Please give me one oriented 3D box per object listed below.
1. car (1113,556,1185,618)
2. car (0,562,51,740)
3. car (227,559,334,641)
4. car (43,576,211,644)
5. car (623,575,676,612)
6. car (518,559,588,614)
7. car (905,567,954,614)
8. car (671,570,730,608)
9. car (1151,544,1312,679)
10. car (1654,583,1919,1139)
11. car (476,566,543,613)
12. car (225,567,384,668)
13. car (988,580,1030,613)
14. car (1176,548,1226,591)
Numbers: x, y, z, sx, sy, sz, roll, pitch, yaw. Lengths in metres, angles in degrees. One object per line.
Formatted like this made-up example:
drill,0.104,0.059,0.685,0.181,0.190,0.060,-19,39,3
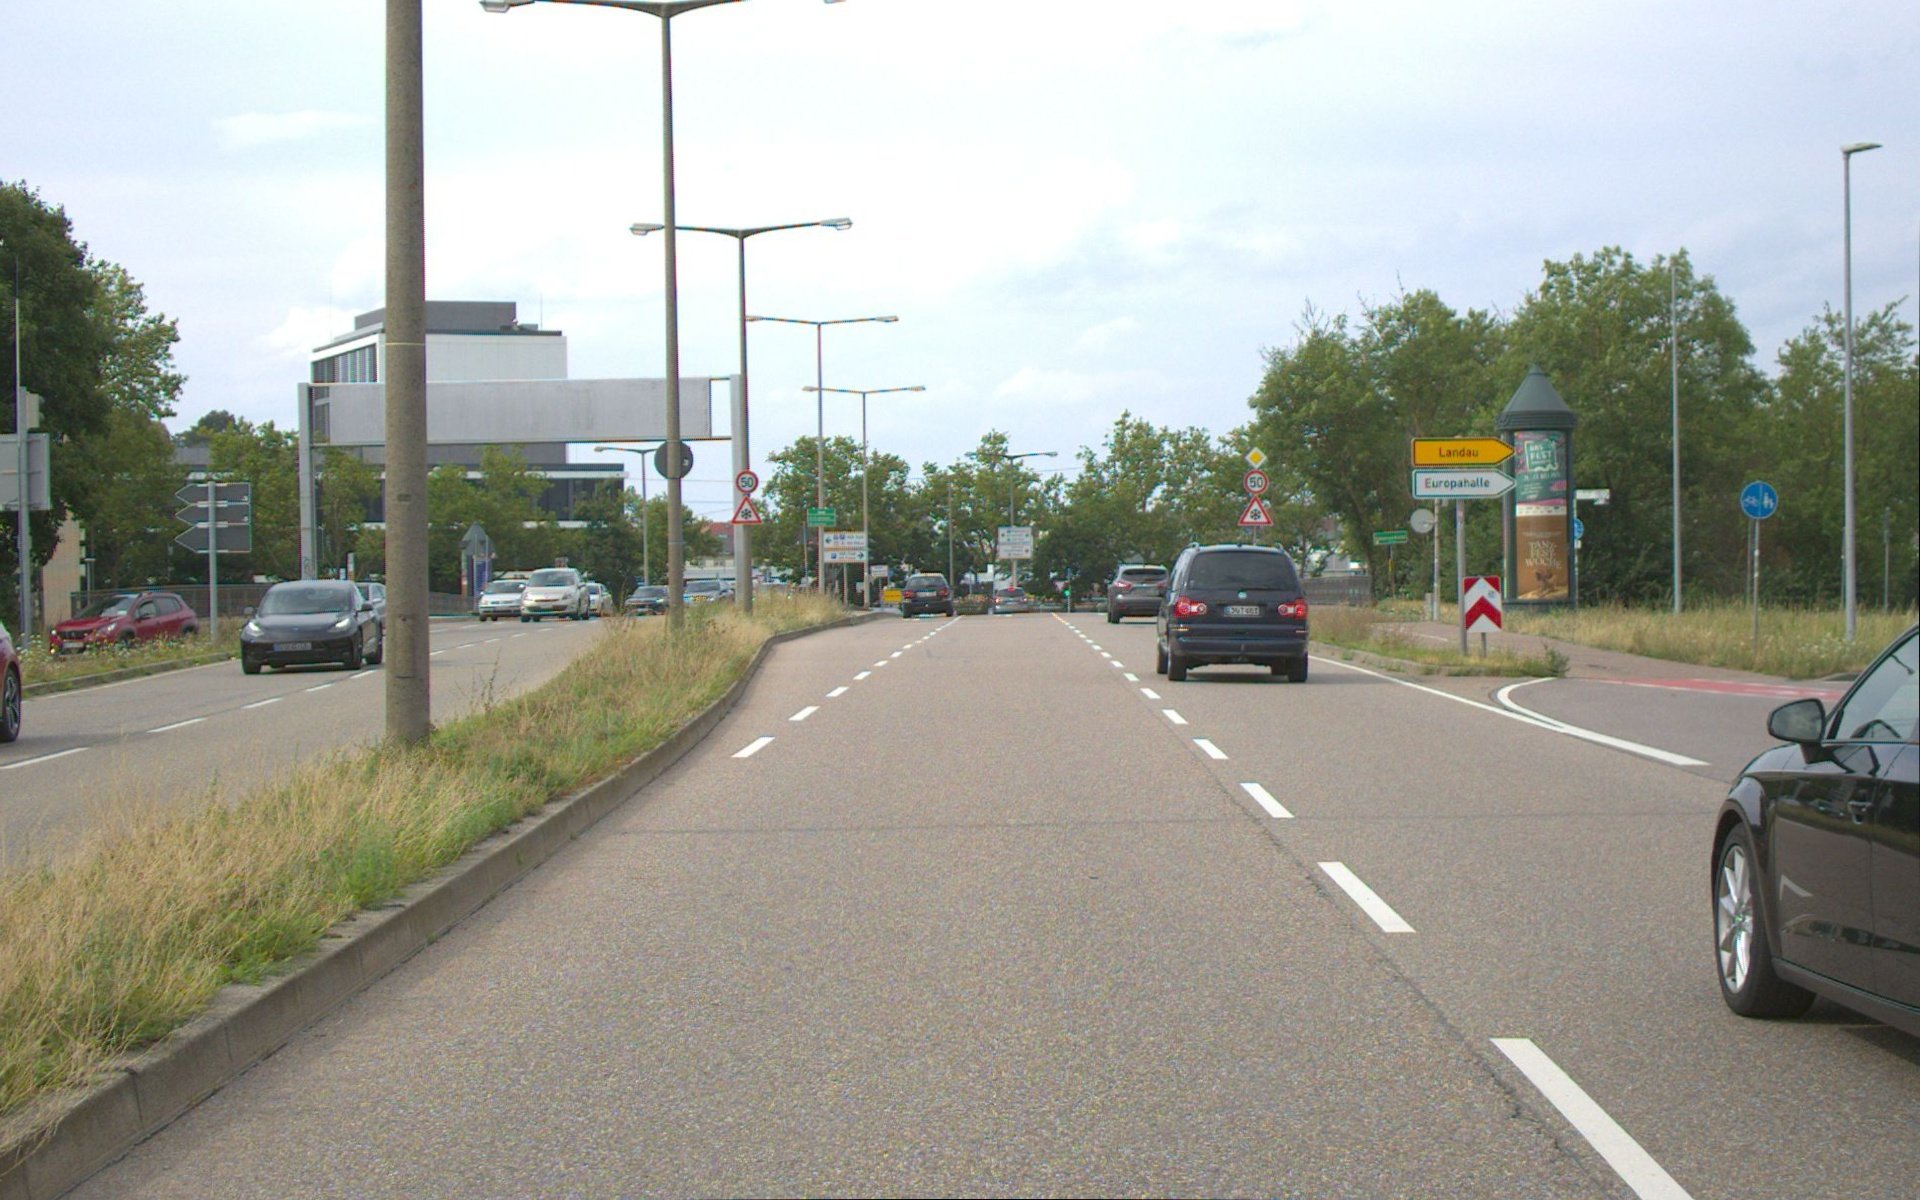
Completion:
car,5.164,-0.383,94.506,1.730,1.647,4.115,0,1,0
car,-9.390,0.511,30.221,1.651,1.569,4.339,-3,1,-1
car,-17.527,-0.025,88.820,1.993,2.007,4.000,1,1,0
car,-18.371,0.205,76.018,1.514,1.363,4.175,-1,1,20
car,-13.589,-0.270,150.554,1.793,1.520,4.594,-2,0,1
car,-12.524,-0.429,105.948,1.745,1.593,4.565,-2,1,-2
car,-1.100,-0.346,125.102,1.730,1.647,4.115,0,1,0
car,-10.281,-0.421,136.646,1.666,1.421,4.518,-2,0,4
car,3.447,0.111,44.252,1.730,1.647,4.115,0,1,0
car,3.295,0.683,9.562,1.730,1.390,4.115,1,1,-2
car,-15.480,-0.382,118.278,1.666,1.414,4.093,-2,2,1
car,-10.501,0.244,55.346,1.745,1.470,4.565,-2,1,-1
car,2.334,-0.170,164.848,1.730,1.521,4.115,0,1,-3
car,8.458,-1.077,120.896,1.507,1.442,3.140,1,1,0
